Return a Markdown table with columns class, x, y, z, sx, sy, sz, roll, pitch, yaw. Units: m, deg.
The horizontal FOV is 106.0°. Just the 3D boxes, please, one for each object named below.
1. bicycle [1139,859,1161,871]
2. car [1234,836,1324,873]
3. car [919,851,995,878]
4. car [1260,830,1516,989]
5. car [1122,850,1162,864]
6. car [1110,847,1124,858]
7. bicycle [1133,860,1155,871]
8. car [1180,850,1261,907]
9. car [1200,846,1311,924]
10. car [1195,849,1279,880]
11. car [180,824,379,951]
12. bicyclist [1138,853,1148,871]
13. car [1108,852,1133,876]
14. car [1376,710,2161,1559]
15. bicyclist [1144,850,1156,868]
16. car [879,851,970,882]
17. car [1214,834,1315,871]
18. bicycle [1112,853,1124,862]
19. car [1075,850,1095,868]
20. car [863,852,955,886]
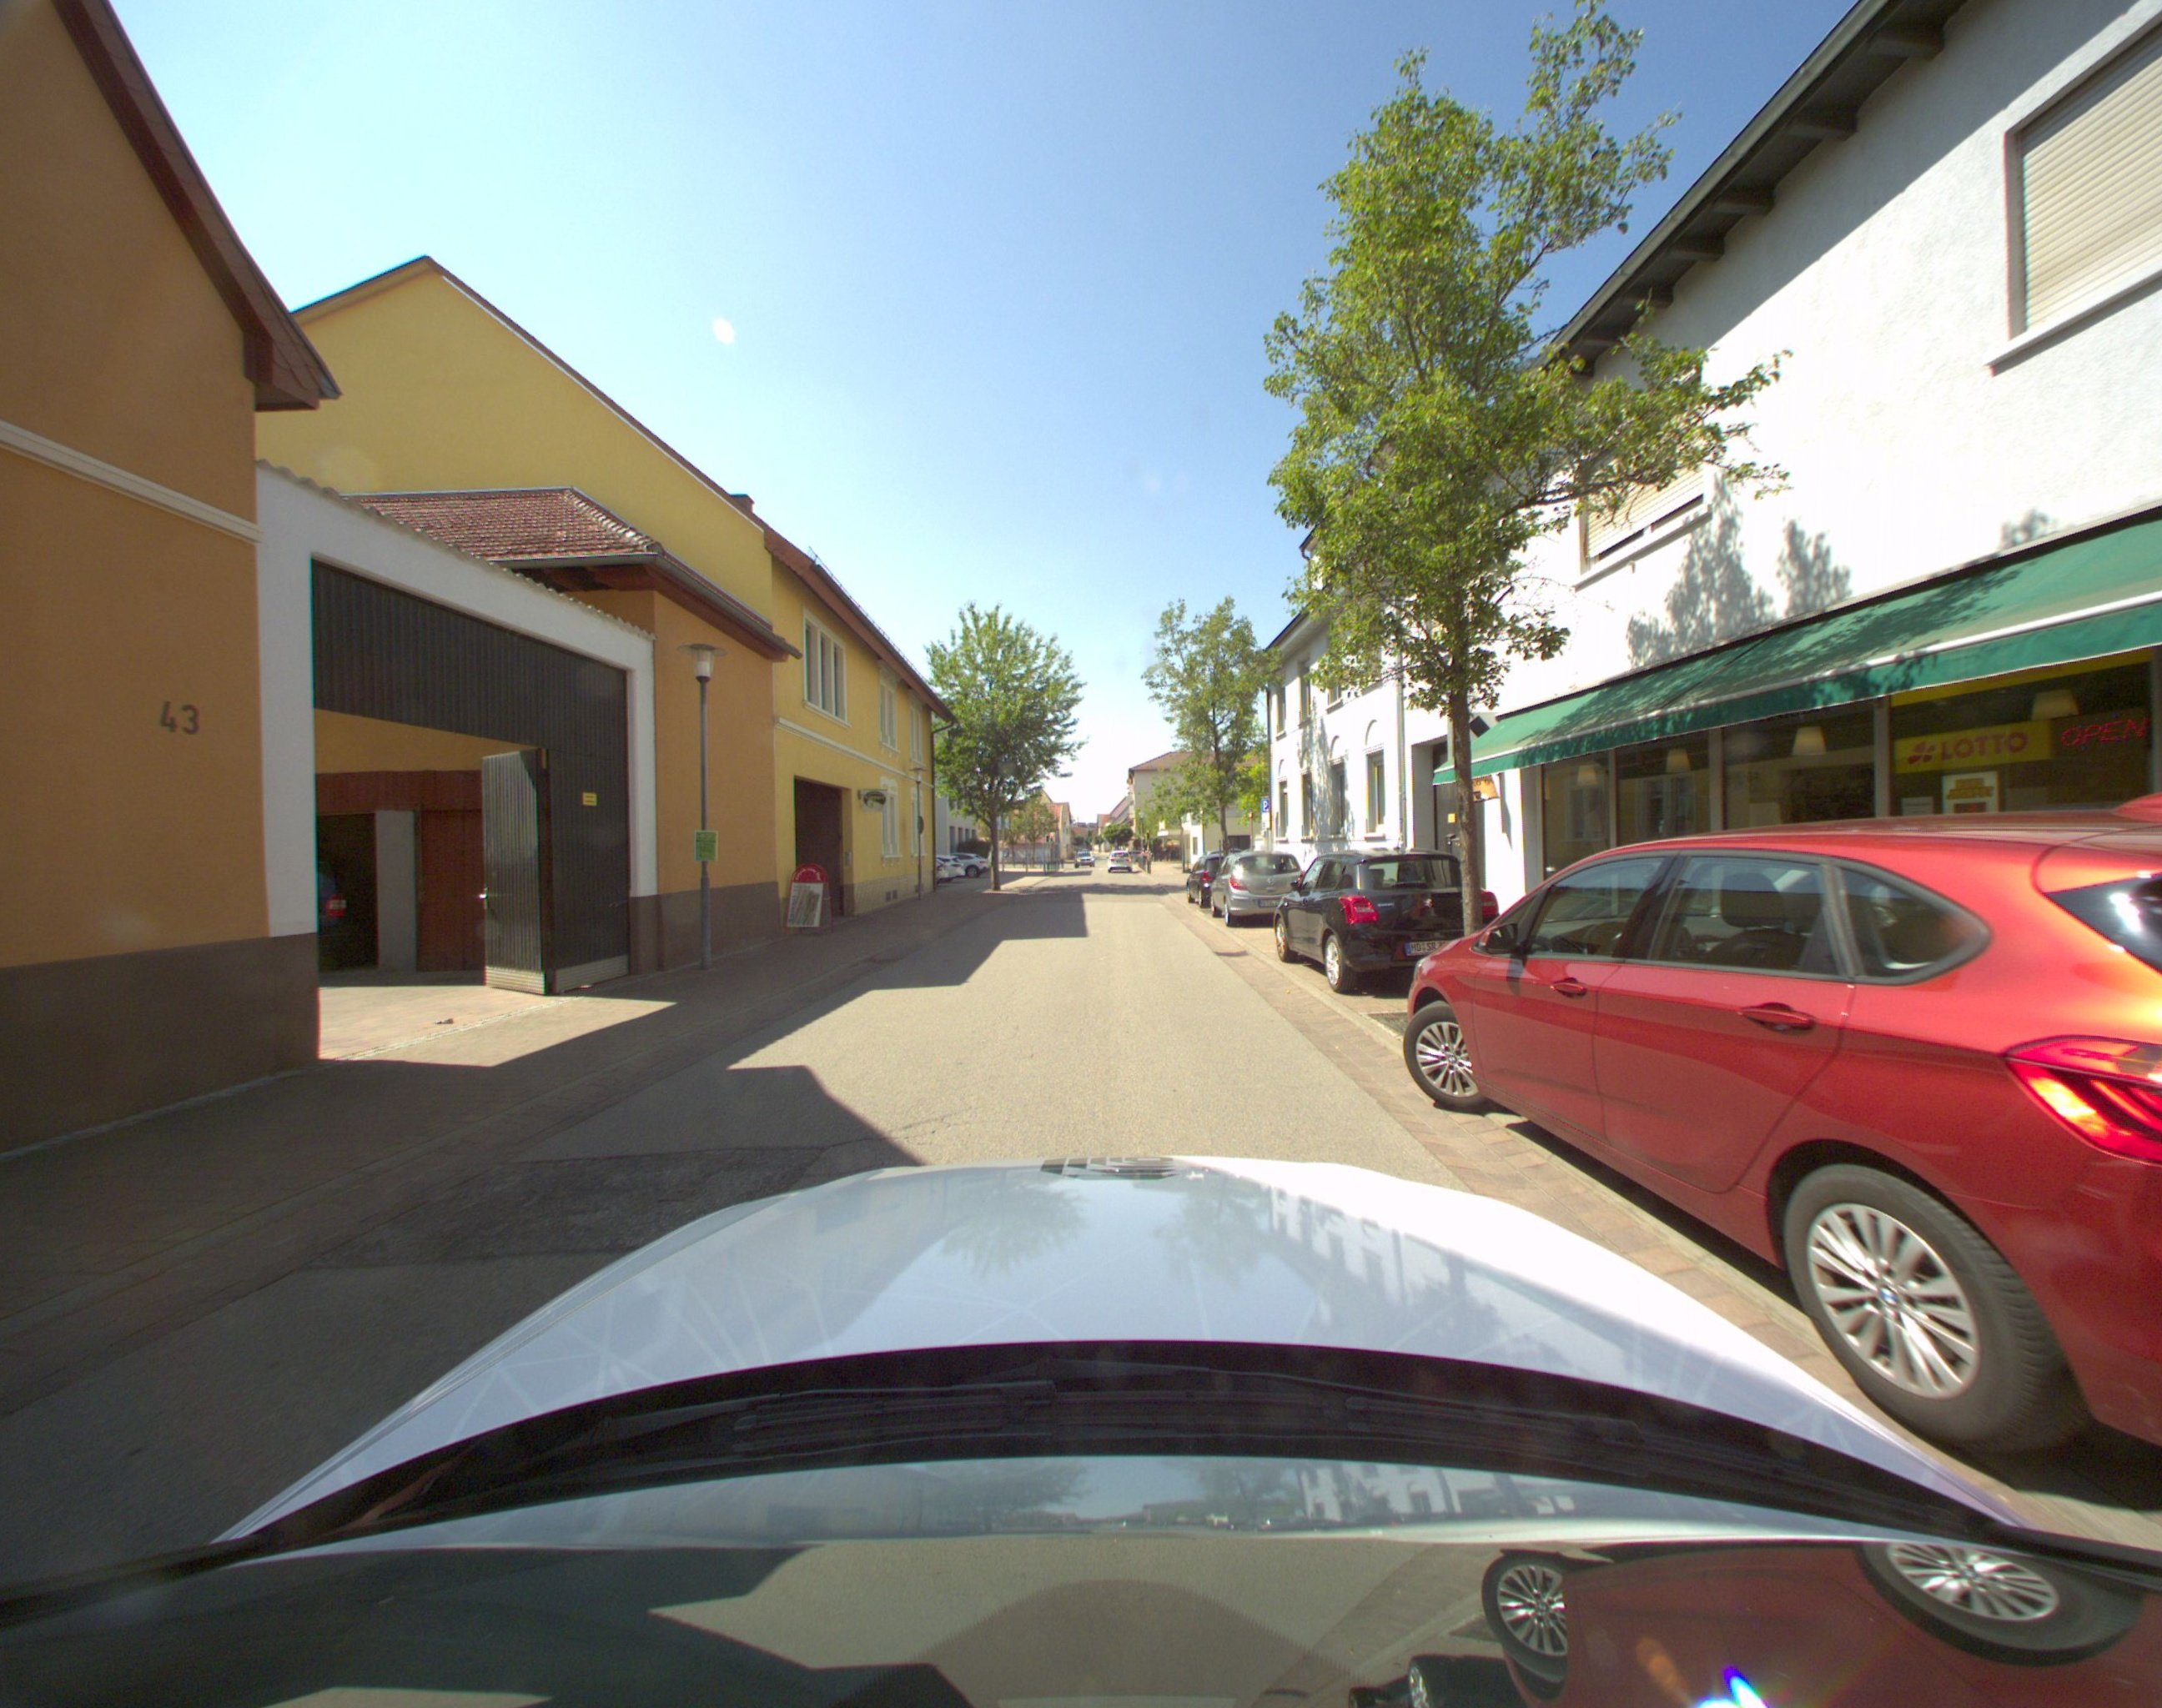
| class | x | y | z | sx | sy | sz | roll | pitch | yaw |
| --- | --- | --- | --- | --- | --- | --- | --- | --- | --- |
| bicycle | 6.463 | 0.994 | 76.392 | 1.897 | 0.958 | 0.671 | -5 | 1 | -22 |
| car | 9.289 | 0.031 | 38.377 | 3.723 | 1.452 | 1.742 | -4 | 1 | -5 |
| car | -7.933 | 0.650 | 52.375 | 4.492 | 1.554 | 2.148 | -1 | 0 | 0 |
| car | 3.422 | 0.558 | 9.868 | 1.730 | 1.513 | 3.736 | -2 | 0 | 1 |
| car | 7.218 | 0.347 | 97.021 | 4.419 | 1.464 | 1.881 | -3 | 0 | -8 |
| car | 5.100 | -0.240 | 115.576 | 1.797 | 1.501 | 4.005 | -3 | 1 | 4 |
| bicycle | 5.821 | 1.050 | 75.127 | 1.897 | 0.958 | 0.671 | 1 | 0 | -22 |
| car | 3.867 | 0.670 | 23.186 | 1.697 | 1.481 | 3.922 | 1 | -1 | 1 |
| car | 3.647 | 0.588 | 17.642 | 1.710 | 1.481 | 4.099 | 1 | 0 | 3 |
| car | 9.358 | 0.610 | 49.131 | 4.568 | 1.512 | 1.913 | -4 | 0 | -5 |
| car | -12.150 | 0.434 | 12.580 | 1.777 | 1.661 | 3.487 | -1 | 0 | -38 |
| bicyclist | 5.703 | 0.740 | 75.087 | 0.762 | 1.581 | 0.666 | 1 | 0 | -21 |
| car | 2.952 | 0.718 | 61.124 | 1.826 | 1.652 | 4.003 | 0 | 1 | 2 |
| car | 2.901 | 0.500 | 3.372 | 1.824 | 1.588 | 4.087 | -2 | 0 | -1 |
| bicyclist | 6.502 | 0.472 | 76.412 | 0.762 | 1.664 | 0.666 | -5 | 1 | -22 |
| car | -8.400 | 0.663 | 44.007 | 4.487 | 1.554 | 1.935 | -1 | -1 | 1 |
| car | 9.163 | -0.096 | 40.868 | 4.528 | 1.440 | 1.837 | -4 | 1 | -5 |
| bicycle | 4.892 | 0.454 | 106.647 | 0.530 | 1.193 | 1.655 | -3 | 0 | -41 |
| car | 0.417 | 0.491 | 80.031 | 1.844 | 1.573 | 4.002 | -3 | 1 | 2 |
| car | -8.178 | 0.717 | 38.951 | 3.975 | 1.451 | 1.807 | -1 | 1 | -1 |
